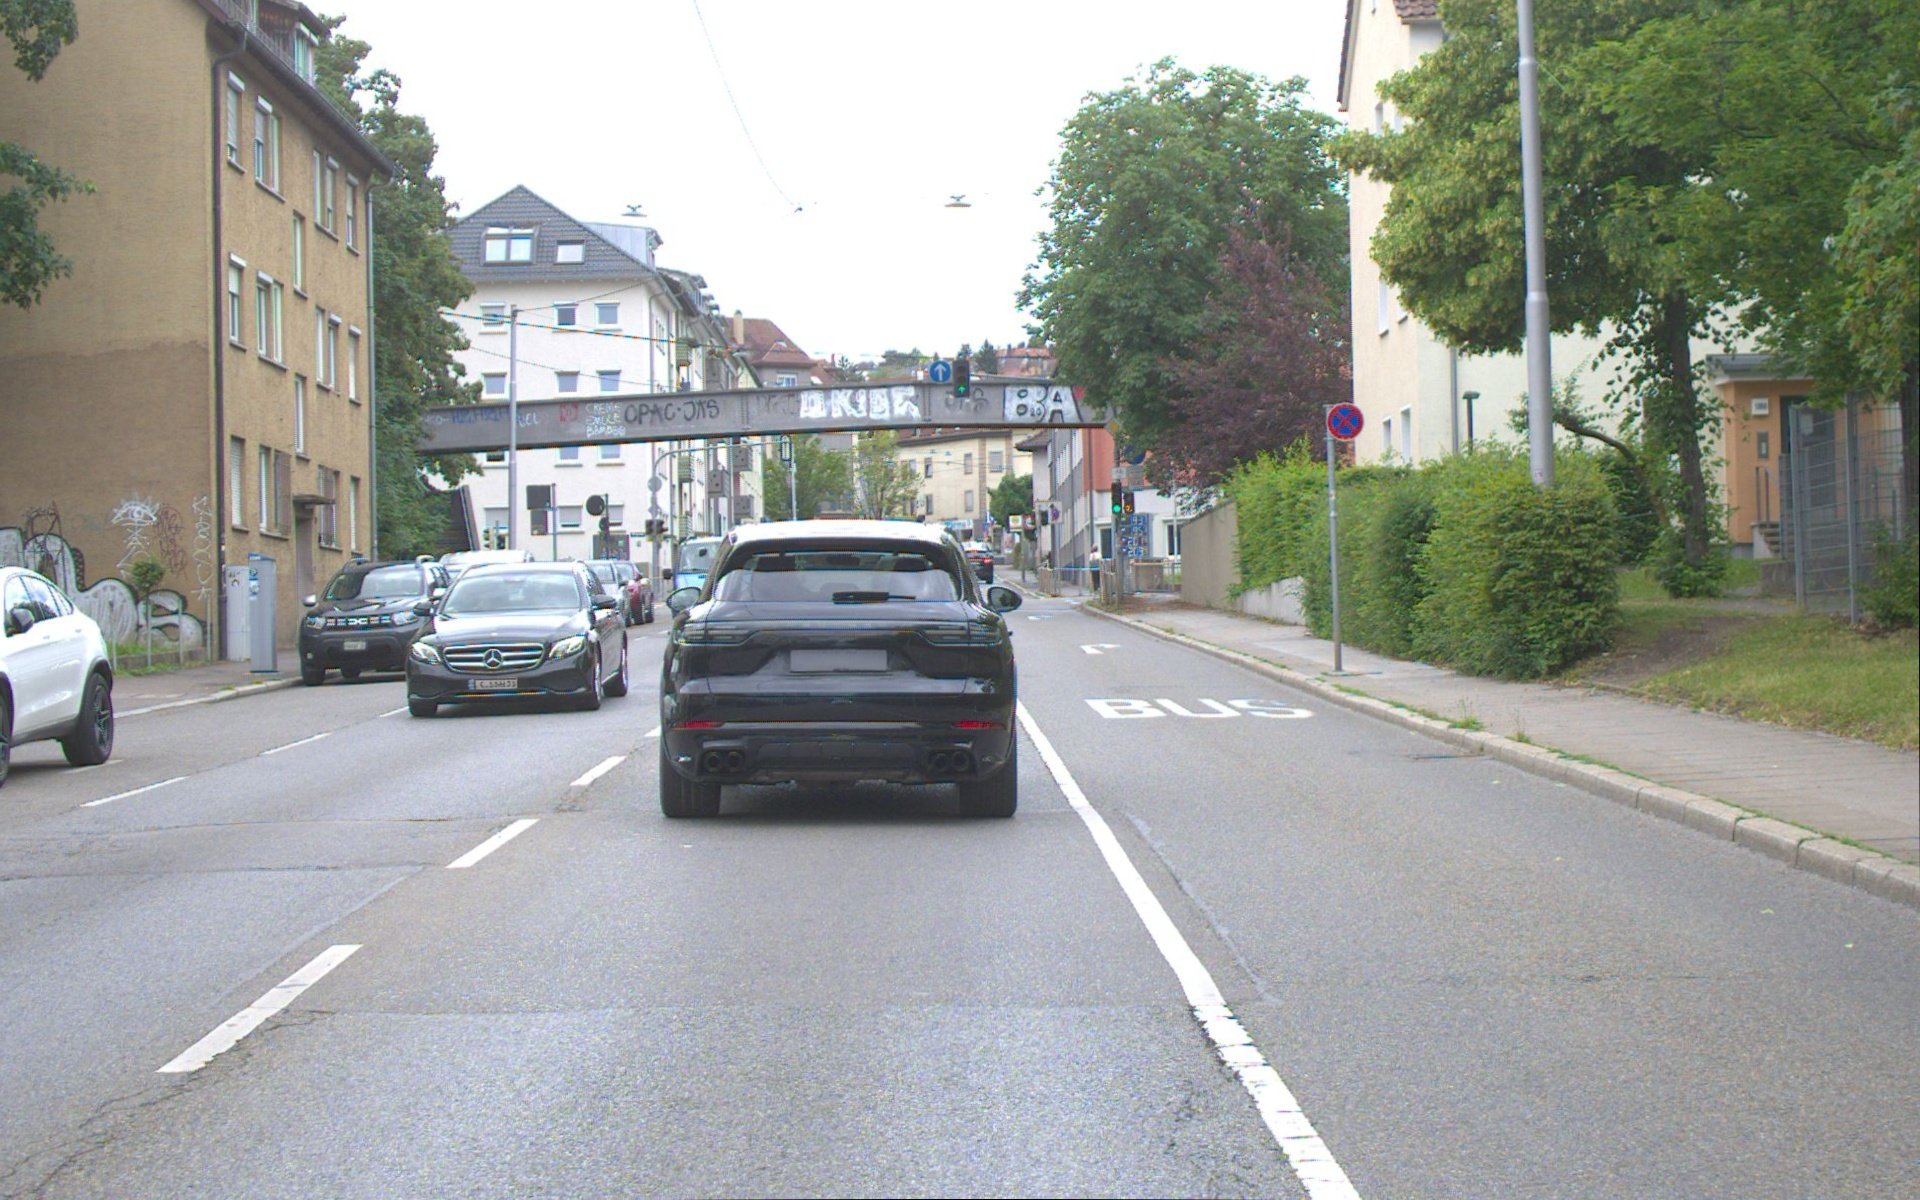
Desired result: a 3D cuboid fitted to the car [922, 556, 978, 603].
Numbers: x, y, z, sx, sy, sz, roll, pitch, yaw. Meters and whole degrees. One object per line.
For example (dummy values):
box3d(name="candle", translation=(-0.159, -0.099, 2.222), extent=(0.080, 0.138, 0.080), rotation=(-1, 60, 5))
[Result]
box3d(name="car", translation=(-0.324, -0.678, 111.614), extent=(1.741, 1.395, 4.000), rotation=(-1, 2, 0))

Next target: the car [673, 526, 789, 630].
box3d(name="car", translation=(-4.372, -0.456, 66.273), extent=(1.931, 1.894, 4.590), rotation=(-2, 1, -1))

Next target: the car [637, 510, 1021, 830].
box3d(name="car", translation=(-0.697, 0.316, 20.084), extent=(1.993, 1.656, 4.000), rotation=(-1, 2, 0))

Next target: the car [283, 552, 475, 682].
box3d(name="car", translation=(-7.966, 0.194, 47.469), extent=(1.783, 1.603, 4.264), rotation=(-4, 1, 1))

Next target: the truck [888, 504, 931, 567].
box3d(name="truck", translation=(-2.862, -3.625, 194.401), extent=(2.266, 3.412, 9.879), rotation=(-1, 1, -1))

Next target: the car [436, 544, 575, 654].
box3d(name="car", translation=(-7.833, -0.051, 59.593), extent=(1.776, 1.748, 4.558), rotation=(-3, 1, -1))

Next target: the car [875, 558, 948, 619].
box3d(name="car", translation=(-1.178, -0.312, 85.407), extent=(1.741, 1.395, 4.000), rotation=(-1, 2, 0))

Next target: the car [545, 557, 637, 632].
box3d(name="car", translation=(-8.308, -0.138, 77.685), extent=(1.745, 1.563, 3.909), rotation=(-3, 1, -2))

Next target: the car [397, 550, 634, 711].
box3d(name="car", translation=(-4.436, 0.255, 34.927), extent=(1.778, 1.461, 4.499), rotation=(-2, 1, 0))

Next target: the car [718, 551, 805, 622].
box3d(name="car", translation=(-4.771, -0.343, 82.964), extent=(1.840, 1.585, 4.164), rotation=(-2, 1, -1))

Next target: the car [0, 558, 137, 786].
box3d(name="car", translation=(-7.695, 0.521, 25.655), extent=(1.915, 1.572, 4.700), rotation=(-2, 1, 0))
